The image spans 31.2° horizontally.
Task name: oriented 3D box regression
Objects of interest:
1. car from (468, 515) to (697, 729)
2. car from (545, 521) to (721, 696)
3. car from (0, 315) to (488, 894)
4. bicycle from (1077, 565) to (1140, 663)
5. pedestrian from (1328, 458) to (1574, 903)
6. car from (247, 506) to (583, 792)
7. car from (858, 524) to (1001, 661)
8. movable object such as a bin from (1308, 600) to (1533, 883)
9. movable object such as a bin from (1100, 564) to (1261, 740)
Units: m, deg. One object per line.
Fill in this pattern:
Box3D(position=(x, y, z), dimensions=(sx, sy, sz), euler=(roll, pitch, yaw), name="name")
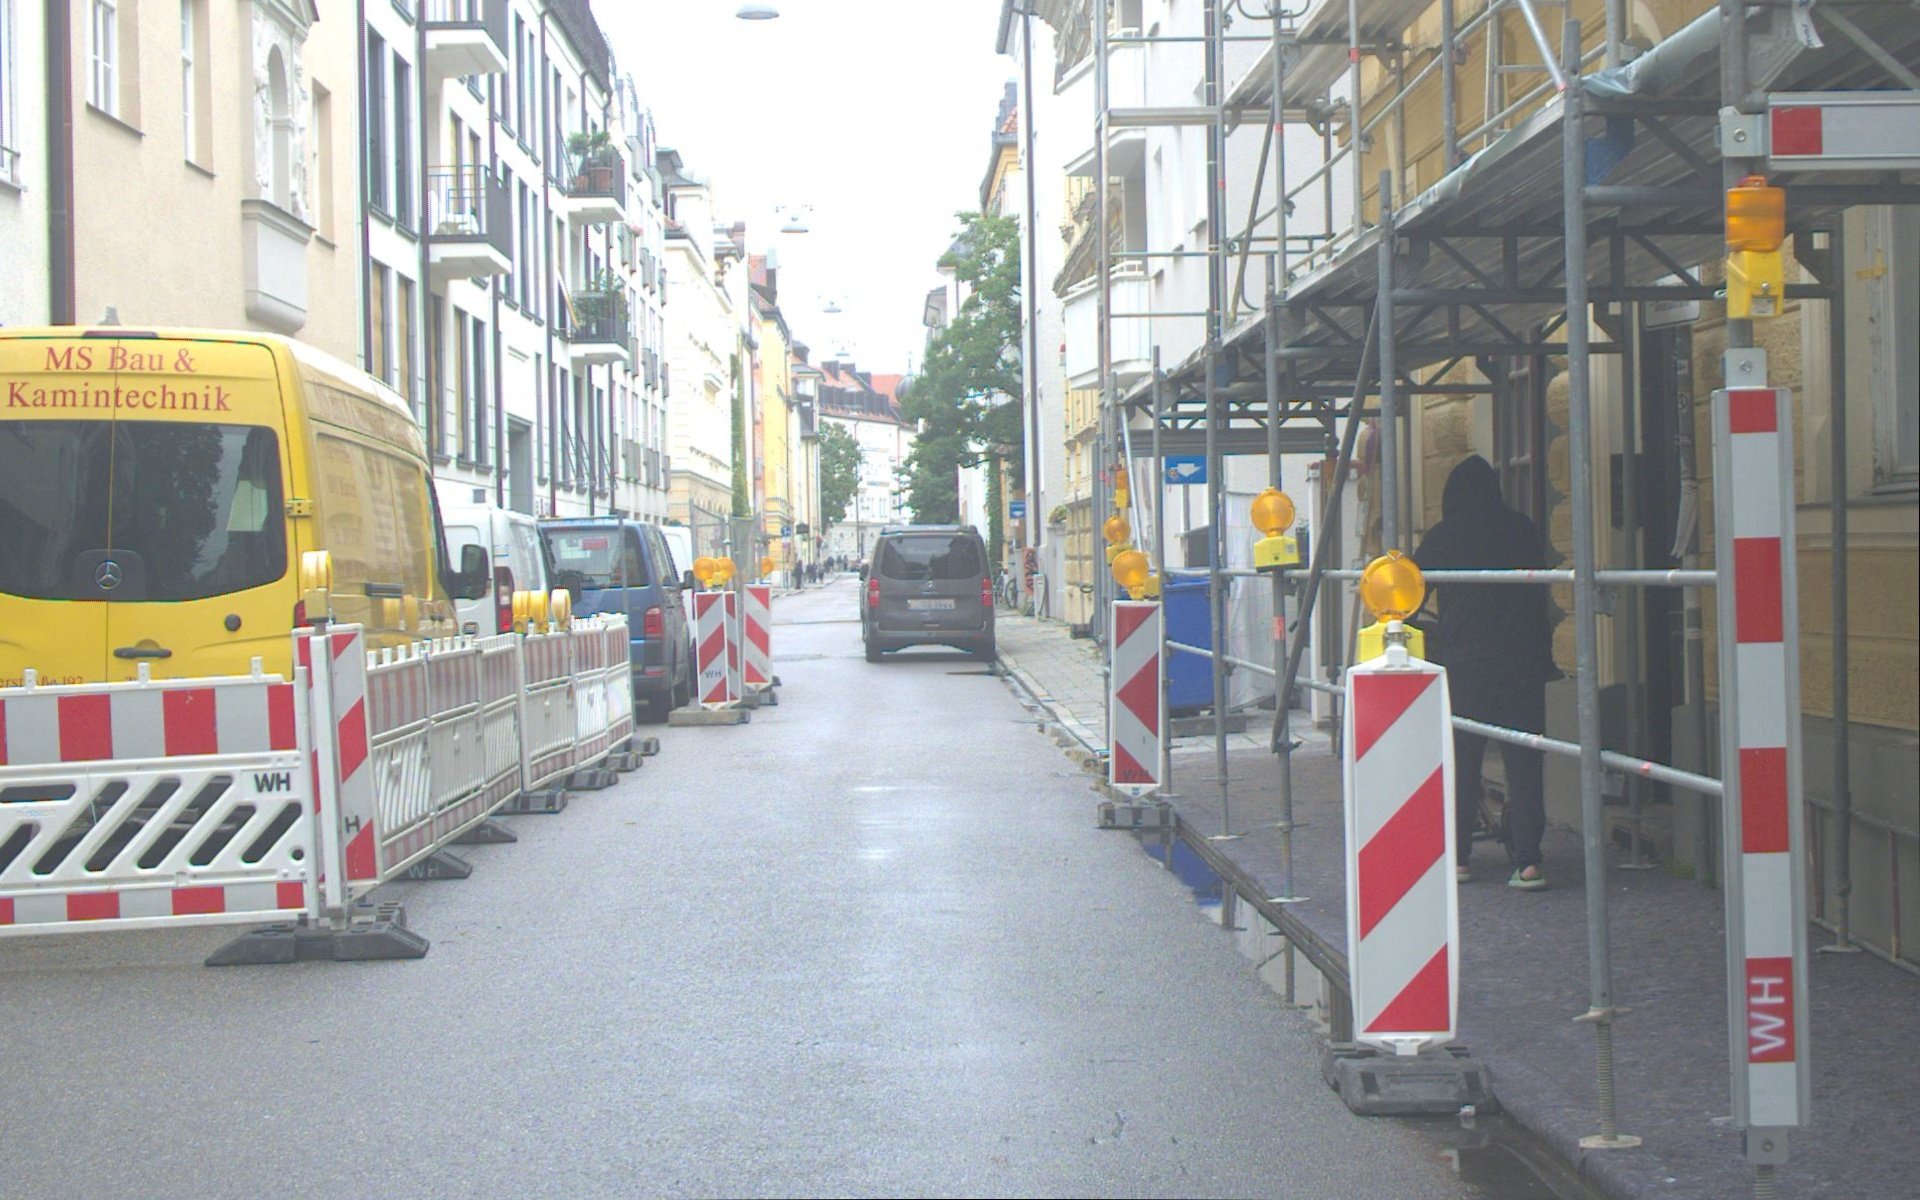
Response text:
Box3D(position=(-3.688, 0.177, 34.457), dimensions=(1.727, 1.891, 5.509), euler=(-3, 1, -1), name="car")
Box3D(position=(-3.804, 0.073, 40.438), dimensions=(1.904, 1.891, 5.090), euler=(-1, 0, -4), name="car")
Box3D(position=(-3.975, -0.013, 18.838), dimensions=(1.993, 2.570, 6.737), euler=(-1, 1, -2), name="car")
Box3D(position=(1.896, 0.166, 44.076), dimensions=(0.638, 1.149, 1.915), euler=(-4, 1, 0), name="bicycle")
Box3D(position=(2.040, 0.320, 14.413), dimensions=(0.729, 1.746, 0.988), euler=(-5, 1, -2), name="pedestrian")
Box3D(position=(-4.036, 0.318, 26.214), dimensions=(1.917, 1.891, 4.791), euler=(-3, 1, -2), name="car")
Box3D(position=(-0.504, -0.138, 50.831), dimensions=(1.993, 1.925, 4.660), euler=(0, 1, -2), name="car")
Box3D(position=(2.019, 0.605, 15.177), dimensions=(0.729, 1.137, 0.988), euler=(-5, 1, -2), name="movable object such as a bin")
Box3D(position=(1.847, 0.419, 28.561), dimensions=(1.087, 1.341, 1.317), euler=(-4, 1, 11), name="movable object such as a bin")
